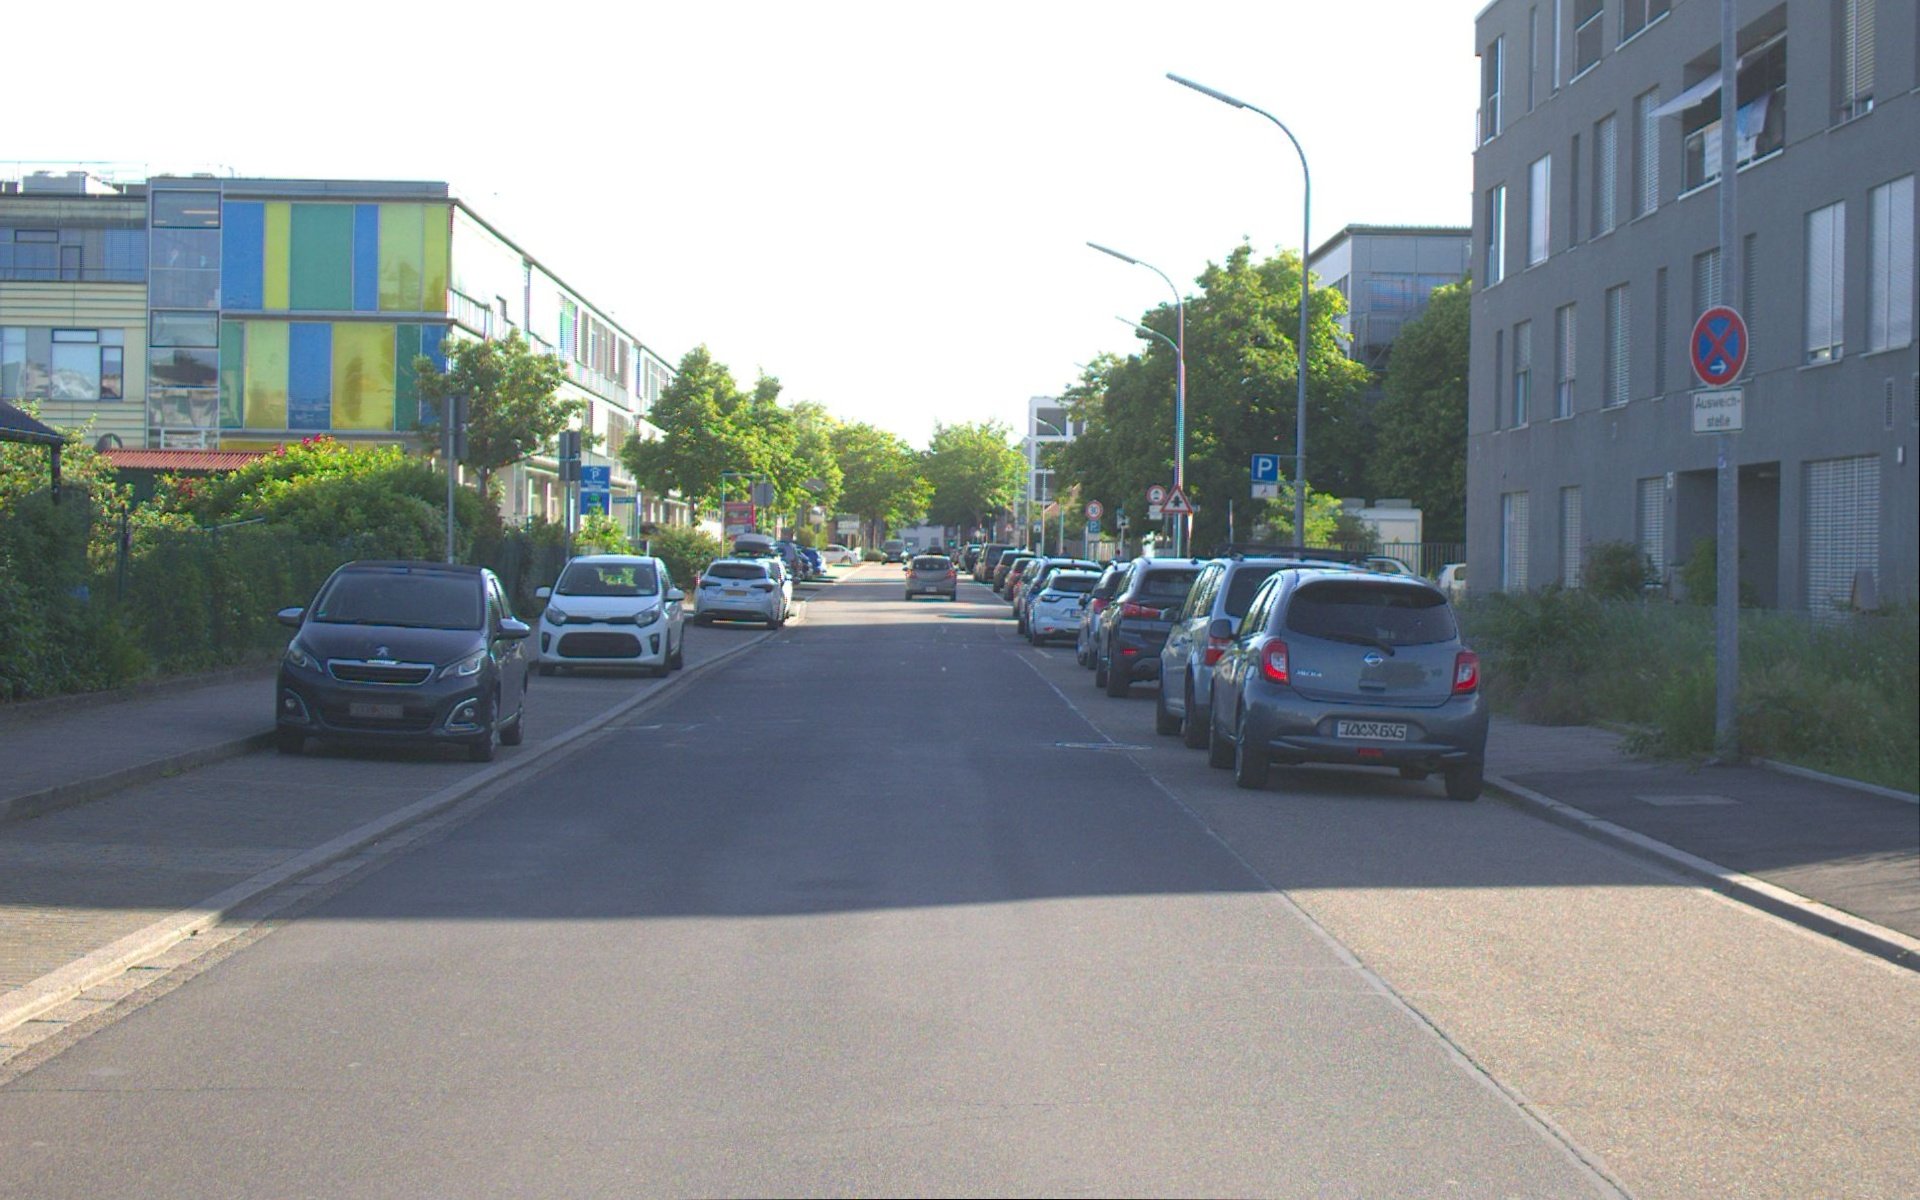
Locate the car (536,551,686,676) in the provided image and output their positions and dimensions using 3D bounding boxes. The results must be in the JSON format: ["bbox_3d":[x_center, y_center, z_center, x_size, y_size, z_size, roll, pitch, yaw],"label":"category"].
[{"bbox_3d":[-4.376,0.140,43.507,1.559,1.489,3.759,1,1,-1],"label":"car"}]

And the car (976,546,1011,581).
[{"bbox_3d":[1.544,-1.692,160.011,1.445,1.544,3.614,3,1,-2],"label":"car"}]

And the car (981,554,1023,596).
[{"bbox_3d":[1.629,-0.990,134.607,1.445,1.544,3.614,3,1,-2],"label":"car"}]

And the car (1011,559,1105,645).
[{"bbox_3d":[1.968,0.020,69.980,1.632,1.625,3.614,3,1,-2],"label":"car"}]

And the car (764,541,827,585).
[{"bbox_3d":[-6.292,-1.406,132.140,1.855,1.558,4.133,3,1,4],"label":"car"}]

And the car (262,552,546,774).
[{"bbox_3d":[-4.206,0.434,26.464,1.559,1.489,3.570,4,1,-1],"label":"car"}]

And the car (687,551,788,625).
[{"bbox_3d":[-4.687,-0.272,72.884,1.854,1.423,4.134,3,1,-1],"label":"car"}]

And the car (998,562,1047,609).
[{"bbox_3d":[2.141,-0.512,118.607,1.445,1.544,3.614,3,1,-2],"label":"car"}]

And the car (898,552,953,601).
[{"bbox_3d":[-1.166,-0.795,114.526,1.689,1.544,3.614,3,1,-2],"label":"car"}]

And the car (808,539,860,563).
[{"bbox_3d":[-9.072,-3.538,247.409,3.601,1.544,1.450,3,0,-5],"label":"car"}]

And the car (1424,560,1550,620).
[{"bbox_3d":[14.497,-0.280,94.712,3.216,1.455,1.450,3,0,2],"label":"car"}]

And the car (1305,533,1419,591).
[{"bbox_3d":[11.986,-1.126,102.689,3.216,1.544,1.450,3,0,2],"label":"car"}]

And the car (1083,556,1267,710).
[{"bbox_3d":[2.445,0.341,40.032,1.741,1.619,4.179,3,1,-1],"label":"car"}]

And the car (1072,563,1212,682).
[{"bbox_3d":[2.553,0.290,49.029,1.657,1.546,3.851,3,1,-1],"label":"car"}]

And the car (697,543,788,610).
[{"bbox_3d":[-5.048,-0.559,80.231,1.854,1.423,4.134,3,1,-1],"label":"car"}]

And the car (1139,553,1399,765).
[{"bbox_3d":[2.596,0.453,29.747,1.676,1.603,4.179,4,1,-2],"label":"car"}]

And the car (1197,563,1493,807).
[{"bbox_3d":[2.685,0.544,24.732,1.622,1.521,3.901,4,1,0],"label":"car"}]

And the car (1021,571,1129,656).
[{"bbox_3d":[2.100,0.228,63.972,1.741,1.423,4.134,3,1,-1],"label":"car"}]
